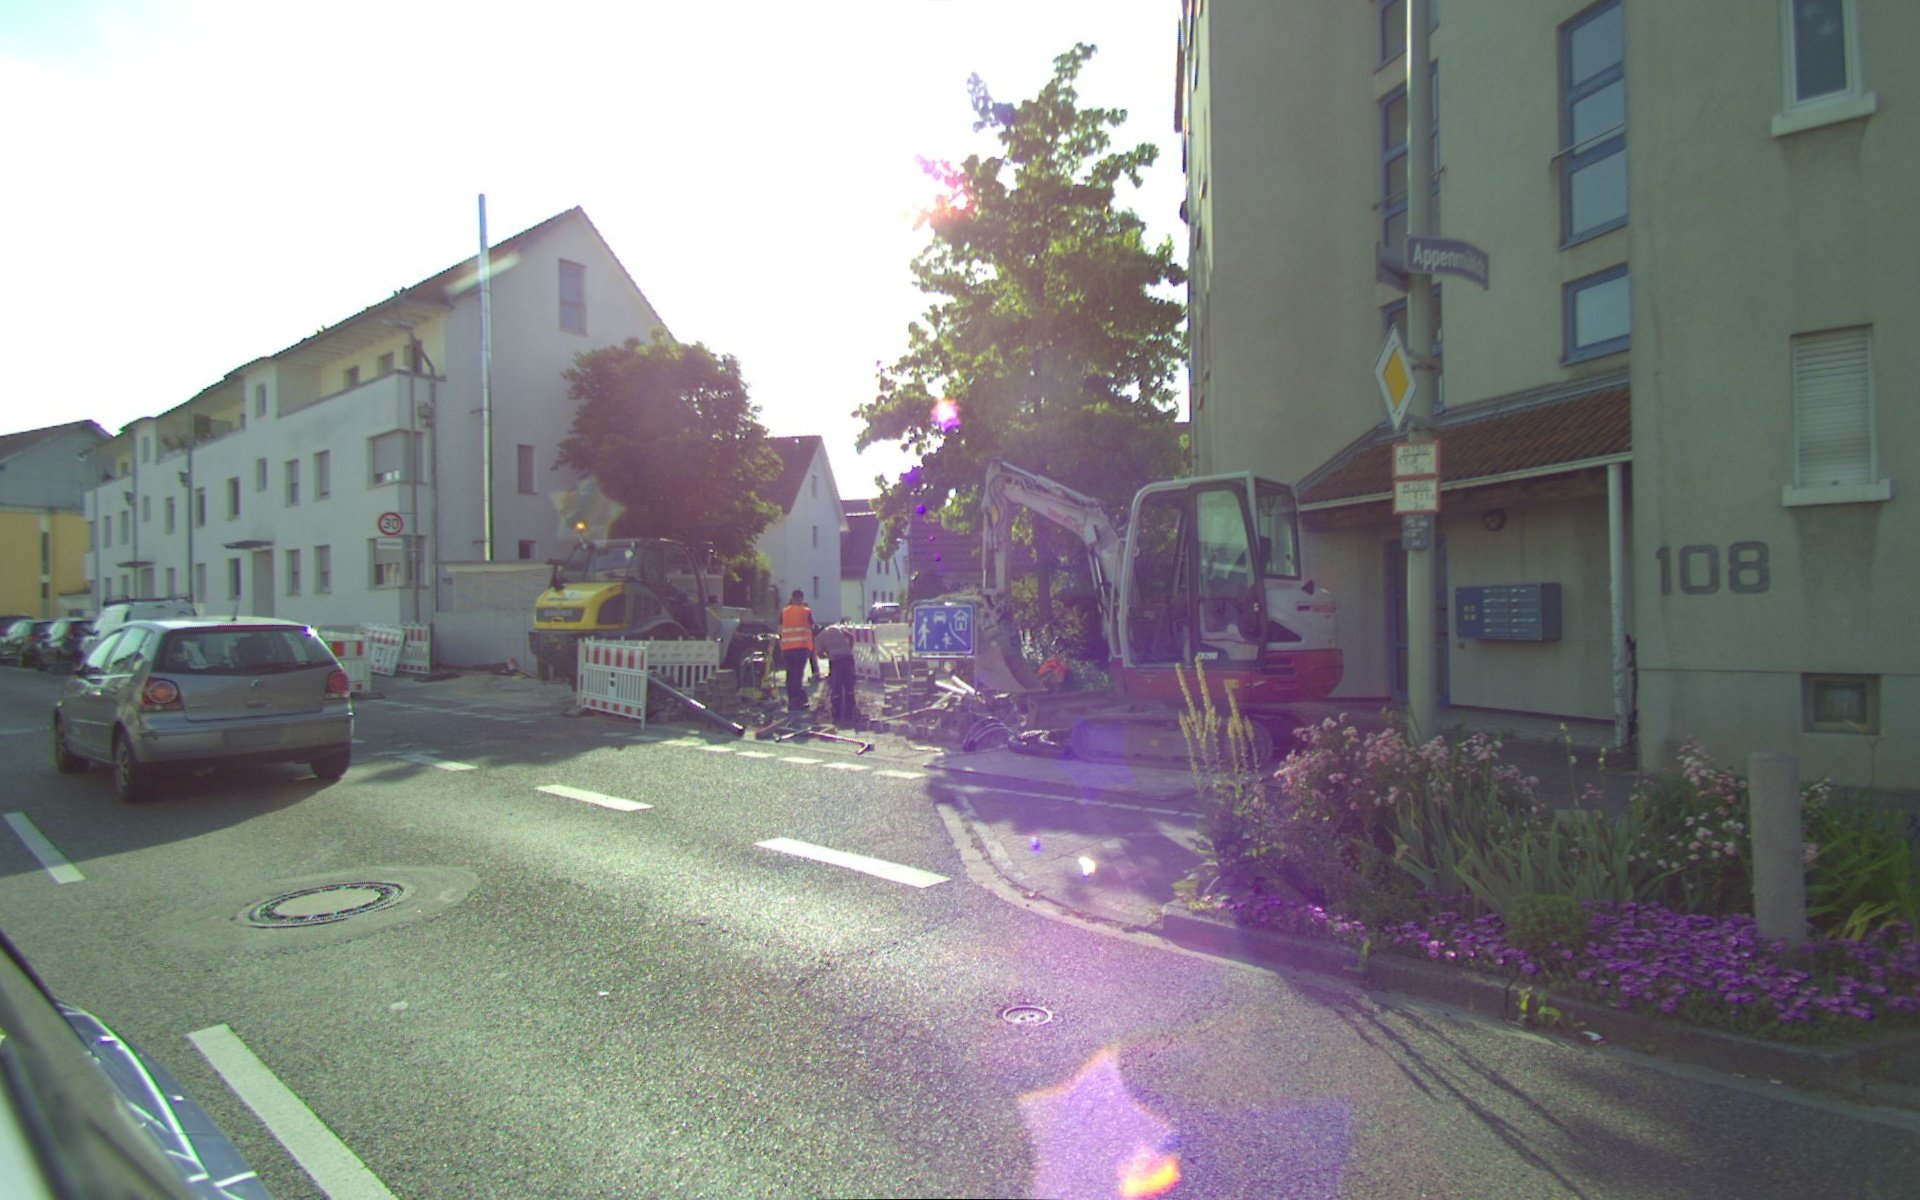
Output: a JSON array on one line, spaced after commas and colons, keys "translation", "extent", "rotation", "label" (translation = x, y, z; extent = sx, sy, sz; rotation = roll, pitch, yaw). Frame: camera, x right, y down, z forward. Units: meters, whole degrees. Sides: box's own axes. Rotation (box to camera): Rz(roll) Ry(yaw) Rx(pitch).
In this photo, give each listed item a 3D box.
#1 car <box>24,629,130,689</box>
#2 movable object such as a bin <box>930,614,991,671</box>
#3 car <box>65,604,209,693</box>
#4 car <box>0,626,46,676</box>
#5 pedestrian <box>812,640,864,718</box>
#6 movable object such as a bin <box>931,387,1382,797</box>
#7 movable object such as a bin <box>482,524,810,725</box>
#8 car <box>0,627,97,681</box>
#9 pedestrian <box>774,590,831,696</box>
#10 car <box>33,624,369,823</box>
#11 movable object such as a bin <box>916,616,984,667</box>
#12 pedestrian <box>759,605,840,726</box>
[{"translation": [-24.127, 1.562, 27.624], "extent": [3.508, 1.476, 1.479], "rotation": [-2, 0, 37], "label": "car"}, {"translation": [-0.013, 1.146, 27.694], "extent": [1.602, 1.458, 1.322], "rotation": [-1, 1, -2], "label": "movable object such as a bin"}, {"translation": [-20.368, 1.165, 24.986], "extent": [4.431, 1.975, 1.711], "rotation": [-2, -1, 37], "label": "car"}, {"translation": [-33.537, 1.763, 35.157], "extent": [4.252, 1.634, 1.713], "rotation": [-1, -1, 34], "label": "car"}, {"translation": [-1.832, 1.173, 15.197], "extent": [0.597, 1.108, 0.494], "rotation": [-2, 0, 42], "label": "pedestrian"}, {"translation": [1.732, -0.010, 9.691], "extent": [3.897, 3.162, 1.631], "rotation": [-2, -2, 40], "label": "movable object such as a bin"}, {"translation": [-5.169, 0.364, 17.598], "extent": [2.103, 2.922, 5.460], "rotation": [-2, -1, 29], "label": "movable object such as a bin"}, {"translation": [-28.836, 1.642, 31.647], "extent": [4.252, 1.489, 1.713], "rotation": [-1, 1, 34], "label": "car"}, {"translation": [-3.116, 0.828, 20.018], "extent": [0.755, 2.034, 0.895], "rotation": [-1, -1, -37], "label": "pedestrian"}, {"translation": [-7.047, 0.967, 9.282], "extent": [3.681, 1.466, 1.602], "rotation": [-2, -2, 39], "label": "car"}, {"translation": [-0.313, 1.220, 30.339], "extent": [1.971, 1.430, 1.416], "rotation": [-1, 1, -2], "label": "movable object such as a bin"}, {"translation": [-2.349, 0.932, 14.794], "extent": [0.993, 1.677, 0.661], "rotation": [-2, 0, 42], "label": "pedestrian"}]
